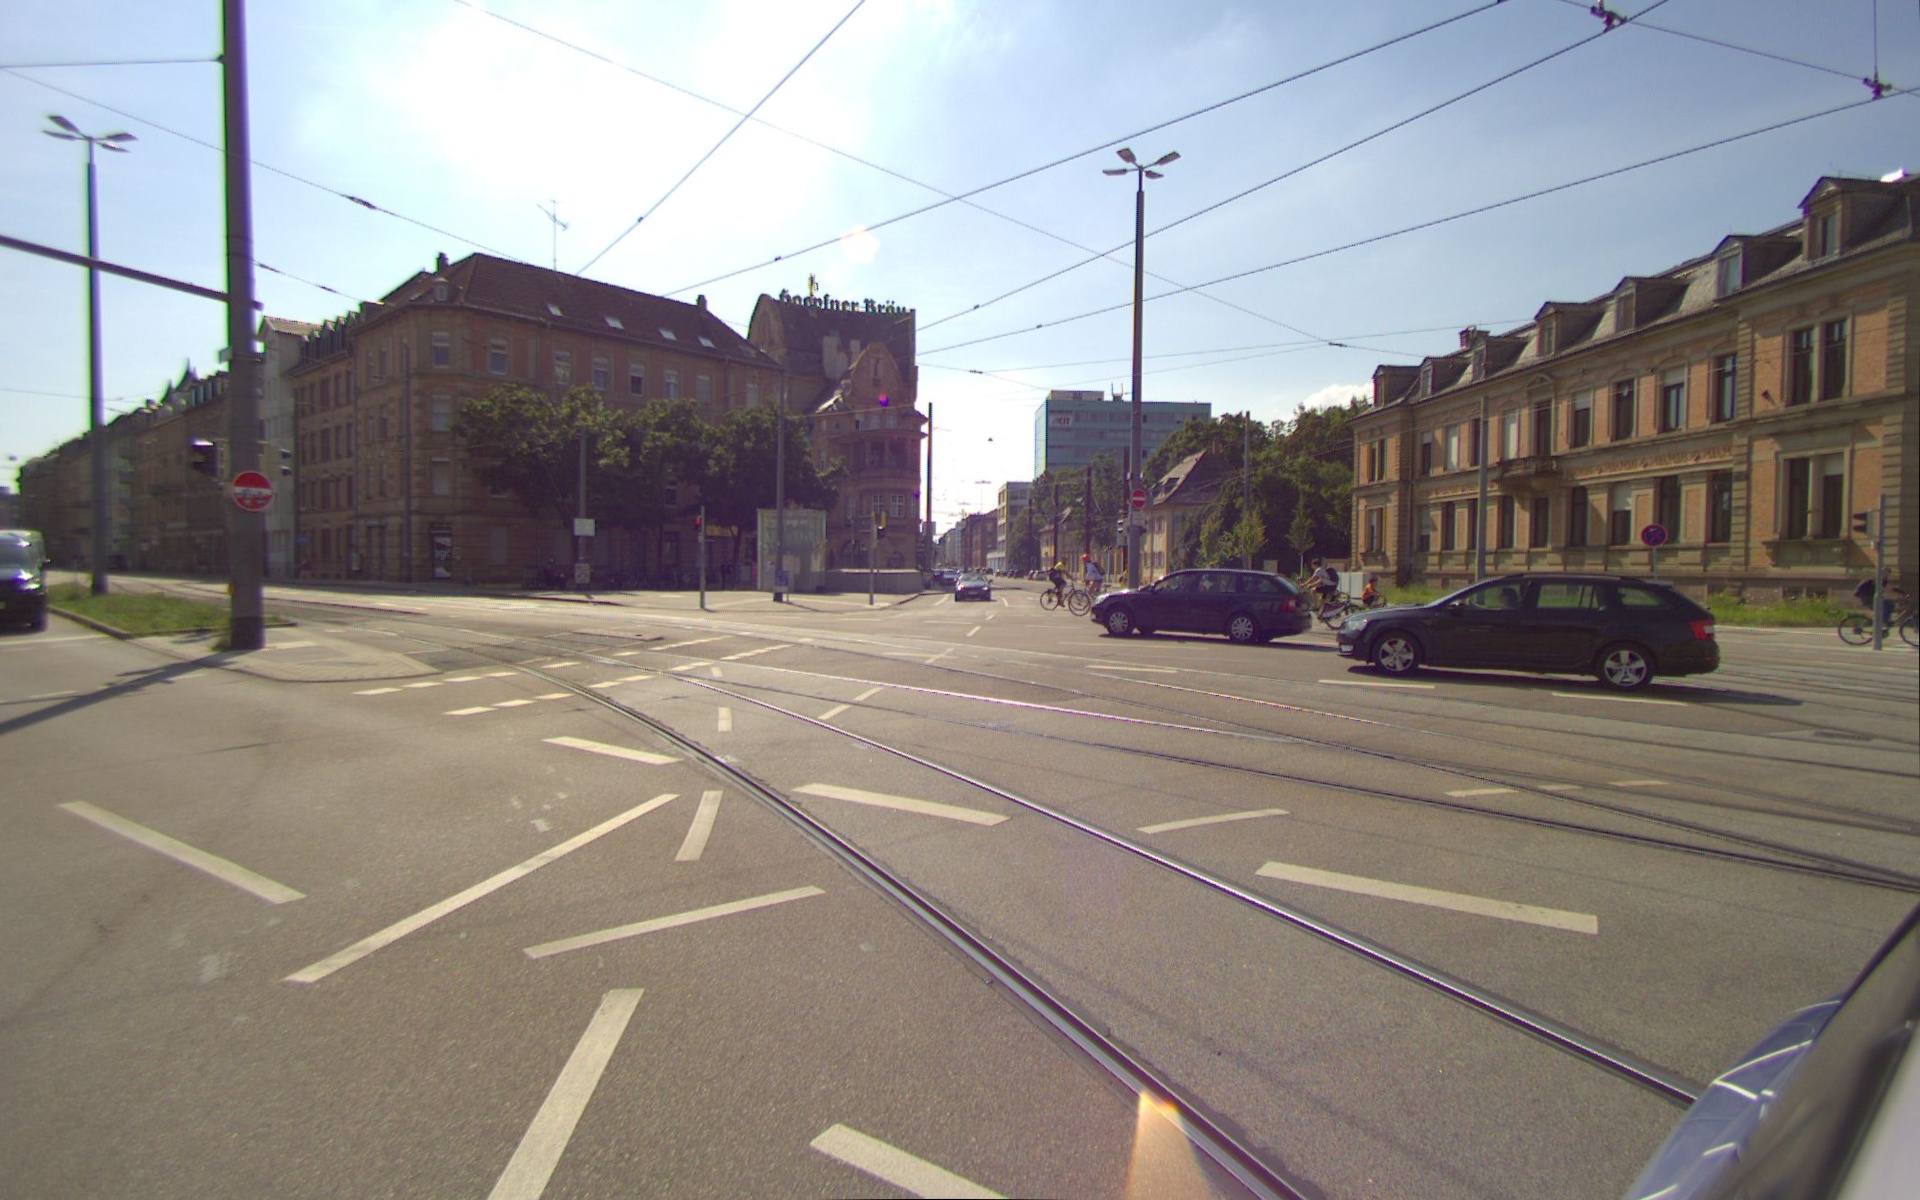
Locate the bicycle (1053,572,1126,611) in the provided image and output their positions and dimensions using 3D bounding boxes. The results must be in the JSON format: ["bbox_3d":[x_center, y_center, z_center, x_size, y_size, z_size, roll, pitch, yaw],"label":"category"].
[{"bbox_3d":[3.762,-0.267,29.496,2.008,1.027,0.708,2,4,35],"label":"bicycle"}]

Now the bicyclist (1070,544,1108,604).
[{"bbox_3d":[3.760,-0.776,29.456,0.869,1.689,0.708,2,4,35],"label":"bicyclist"}]

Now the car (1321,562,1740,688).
[{"bbox_3d":[7.576,0.232,13.925,4.736,1.453,1.620,2,2,28],"label":"car"}]

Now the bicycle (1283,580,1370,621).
[{"bbox_3d":[9.570,-0.004,26.445,2.009,1.028,0.707,1,0,38],"label":"bicycle"}]

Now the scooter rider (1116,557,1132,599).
[{"bbox_3d":[5.639,-0.753,34.774,0.403,1.415,0.583,1,0,26],"label":"scooter rider"}]

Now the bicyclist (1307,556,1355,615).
[{"bbox_3d":[9.707,-0.363,26.471,0.704,1.506,0.949,1,-1,-40],"label":"bicyclist"}]

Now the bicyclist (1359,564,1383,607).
[{"bbox_3d":[11.887,-0.421,29.265,0.597,1.211,0.516,2,2,24],"label":"bicyclist"}]

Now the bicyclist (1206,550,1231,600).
[{"bbox_3d":[8.616,-0.818,33.727,0.645,1.641,0.496,2,0,32],"label":"bicyclist"}]

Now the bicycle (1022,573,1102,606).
[{"bbox_3d":[3.552,-0.365,35.201,2.702,1.083,0.927,1,0,10],"label":"bicycle"}]

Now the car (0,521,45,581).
[{"bbox_3d":[-44.364,-2.232,46.988,2.174,2.608,5.872,1,0,-37],"label":"car"}]

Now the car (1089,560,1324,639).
[{"bbox_3d":[4.937,-0.078,20.468,4.362,1.447,1.687,1,2,31],"label":"car"}]

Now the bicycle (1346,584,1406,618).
[{"bbox_3d":[12.045,0.014,29.319,1.558,0.897,0.516,2,2,24],"label":"bicycle"}]

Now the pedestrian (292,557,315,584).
[{"bbox_3d":[-35.794,-1.590,55.209,0.868,1.450,0.714,0,2,-13],"label":"pedestrian"}]

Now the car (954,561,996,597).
[{"bbox_3d":[0.780,-0.973,48.671,1.610,1.604,3.992,1,0,7],"label":"car"}]

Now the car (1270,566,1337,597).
[{"bbox_3d":[16.111,-0.891,47.605,1.638,1.329,3.458,0,2,-7],"label":"car"}]

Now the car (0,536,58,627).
[{"bbox_3d":[-18.901,-0.409,19.524,4.702,1.607,1.936,3,3,44],"label":"car"}]

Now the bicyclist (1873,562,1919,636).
[{"bbox_3d":[21.528,-0.043,23.195,0.657,1.644,0.782,-2,3,-40],"label":"bicyclist"}]

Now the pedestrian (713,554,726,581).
[{"bbox_3d":[-13.515,-1.820,56.916,0.698,1.451,0.615,1,0,-11],"label":"pedestrian"}]

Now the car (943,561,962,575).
[{"bbox_3d":[-0.774,-3.123,98.345,1.606,1.362,3.588,0,2,-4],"label":"car"}]

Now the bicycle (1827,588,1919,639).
[{"bbox_3d":[21.552,0.311,23.196,0.657,1.082,2.461,-3,4,-40],"label":"bicycle"}]

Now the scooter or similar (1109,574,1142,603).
[{"bbox_3d":[5.667,-0.401,34.739,0.982,0.988,0.583,1,0,27],"label":"scooter or similar"}]

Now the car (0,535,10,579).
[{"bbox_3d":[-39.673,-1.724,40.457,2.154,1.701,5.023,-2,3,-40],"label":"car"}]

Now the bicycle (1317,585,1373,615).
[{"bbox_3d":[11.922,0.008,31.343,1.571,0.876,0.497,2,0,26],"label":"bicycle"}]

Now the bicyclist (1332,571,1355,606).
[{"bbox_3d":[11.896,-0.354,31.370,0.599,1.042,0.497,2,0,25],"label":"bicyclist"}]

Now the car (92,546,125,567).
[{"bbox_3d":[-88.128,-4.436,104.759,3.984,2.039,2.084,1,0,42],"label":"car"}]

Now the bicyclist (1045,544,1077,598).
[{"bbox_3d":[3.523,-0.999,35.196,1.035,1.843,0.927,1,0,10],"label":"bicyclist"}]

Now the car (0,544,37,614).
[{"bbox_3d":[-23.752,-0.500,24.338,3.984,1.607,1.872,1,2,42],"label":"car"}]
